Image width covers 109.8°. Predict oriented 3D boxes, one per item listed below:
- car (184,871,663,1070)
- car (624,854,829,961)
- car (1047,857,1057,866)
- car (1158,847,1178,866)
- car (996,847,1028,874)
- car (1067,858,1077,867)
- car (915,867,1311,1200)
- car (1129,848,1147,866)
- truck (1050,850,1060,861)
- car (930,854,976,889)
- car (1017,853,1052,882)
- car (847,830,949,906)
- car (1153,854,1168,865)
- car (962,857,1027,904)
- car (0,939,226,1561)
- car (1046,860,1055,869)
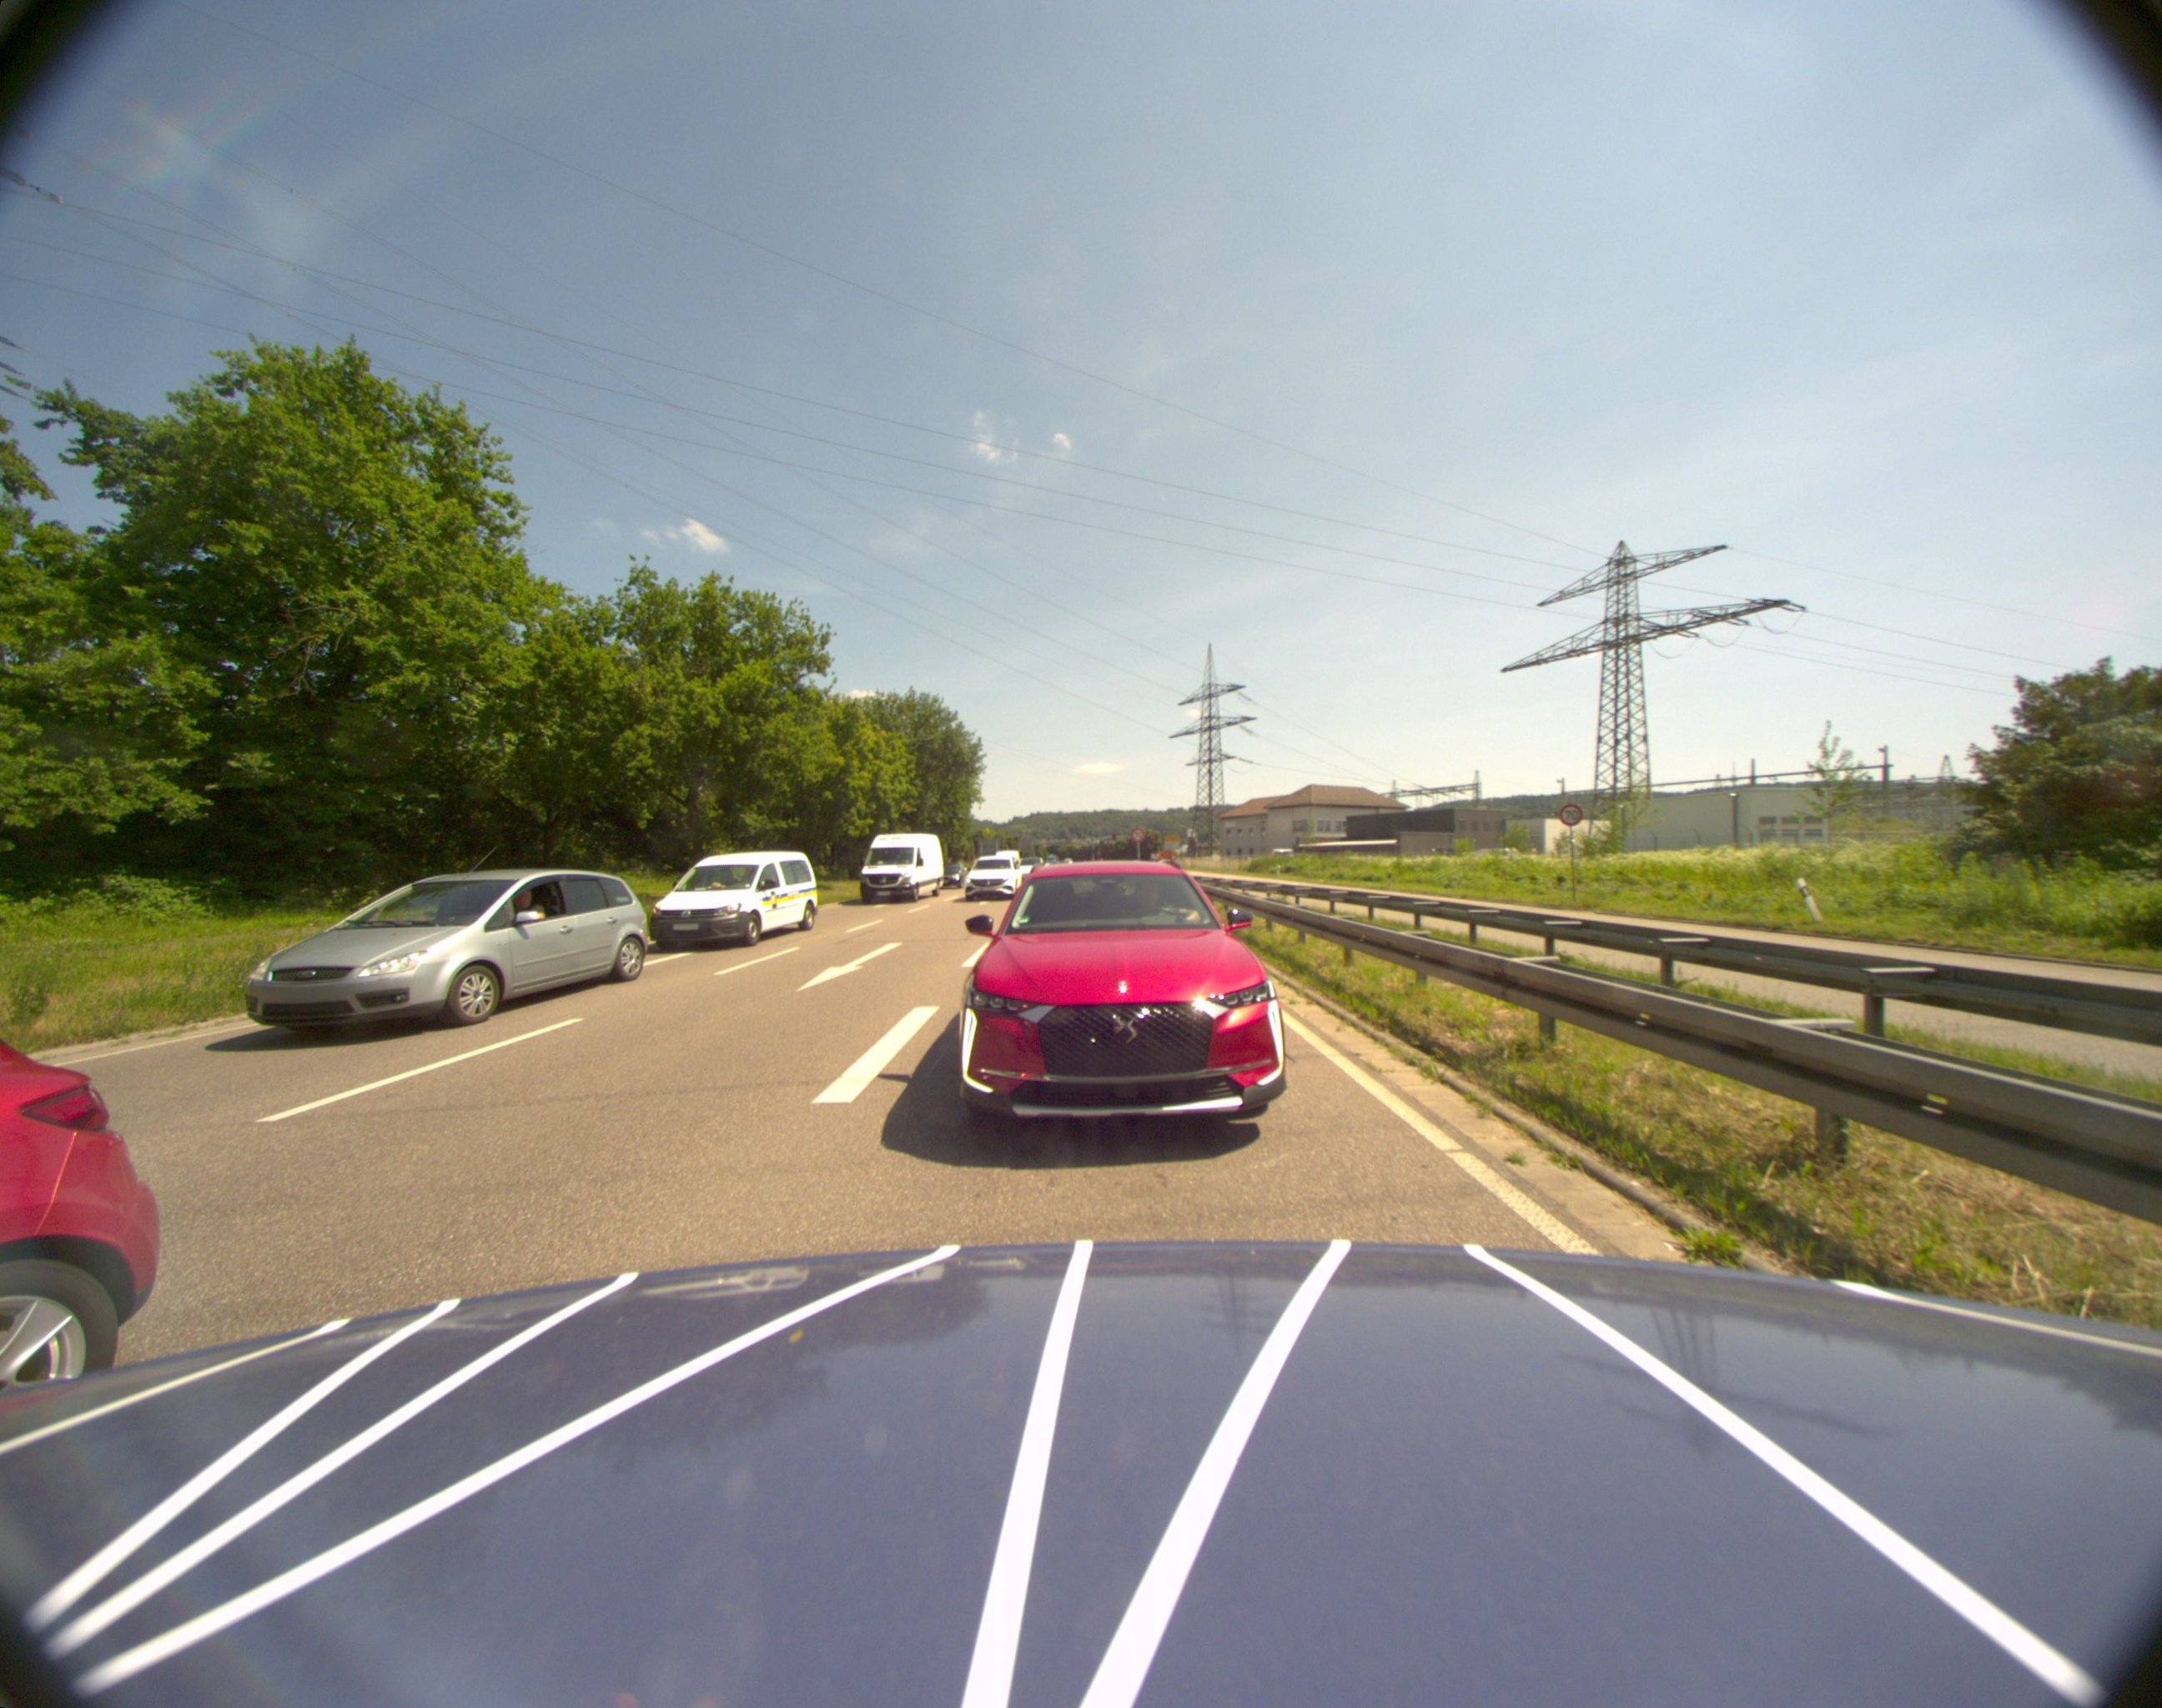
[{"bbox_3d":[-6.961,1.076,8.818,1.747,1.585,4.272,-2,0,1],"label":"car"},{"bbox_3d":[-6.982,0.926,15.708,1.809,1.790,5.037,-2,0,0],"label":"car"},{"bbox_3d":[-6.527,1.681,169.041,1.998,1.808,3.999,-2,1,1],"label":"car"},{"bbox_3d":[14.307,0.396,125.714,2.607,3.043,5.638,0,0,0],"label":"car"},{"bbox_3d":[-6.578,0.553,73.207,2.308,2.408,5.814,-2,0,1],"label":"car"},{"bbox_3d":[-1.900,1.851,159.342,1.878,1.674,3.998,-2,1,-2],"label":"car"},{"bbox_3d":[0.182,0.902,5.850,1.846,1.453,4.414,-2,0,1],"label":"car"},{"bbox_3d":[9.699,0.445,130.050,2.607,3.043,5.638,0,0,0],"label":"car"},{"bbox_3d":[-6.326,0.407,183.972,2.170,2.428,4.909,-2,1,-2],"label":"truck"},{"bbox_3d":[-6.995,0.920,41.873,1.878,1.674,3.998,-2,1,-2],"label":"car"},{"bbox_3d":[-2.956,0.828,48.913,2.022,1.671,3.999,-2,0,-1],"label":"car"},{"bbox_3d":[-6.984,0.492,30.052,2.232,2.592,7.018,-2,0,0],"label":"car"},{"bbox_3d":[14.131,0.952,135.524,1.999,1.904,3.998,-2,1,-3],"label":"car"},{"bbox_3d":[-3.163,0.921,28.655,1.850,1.559,4.363,-2,0,1],"label":"car"},{"bbox_3d":[-3.530,1.019,0.284,1.747,1.453,4.065,-2,0,0],"label":"car"},{"bbox_3d":[-6.078,2.096,151.828,1.878,1.674,3.998,-2,1,-2],"label":"car"}]
